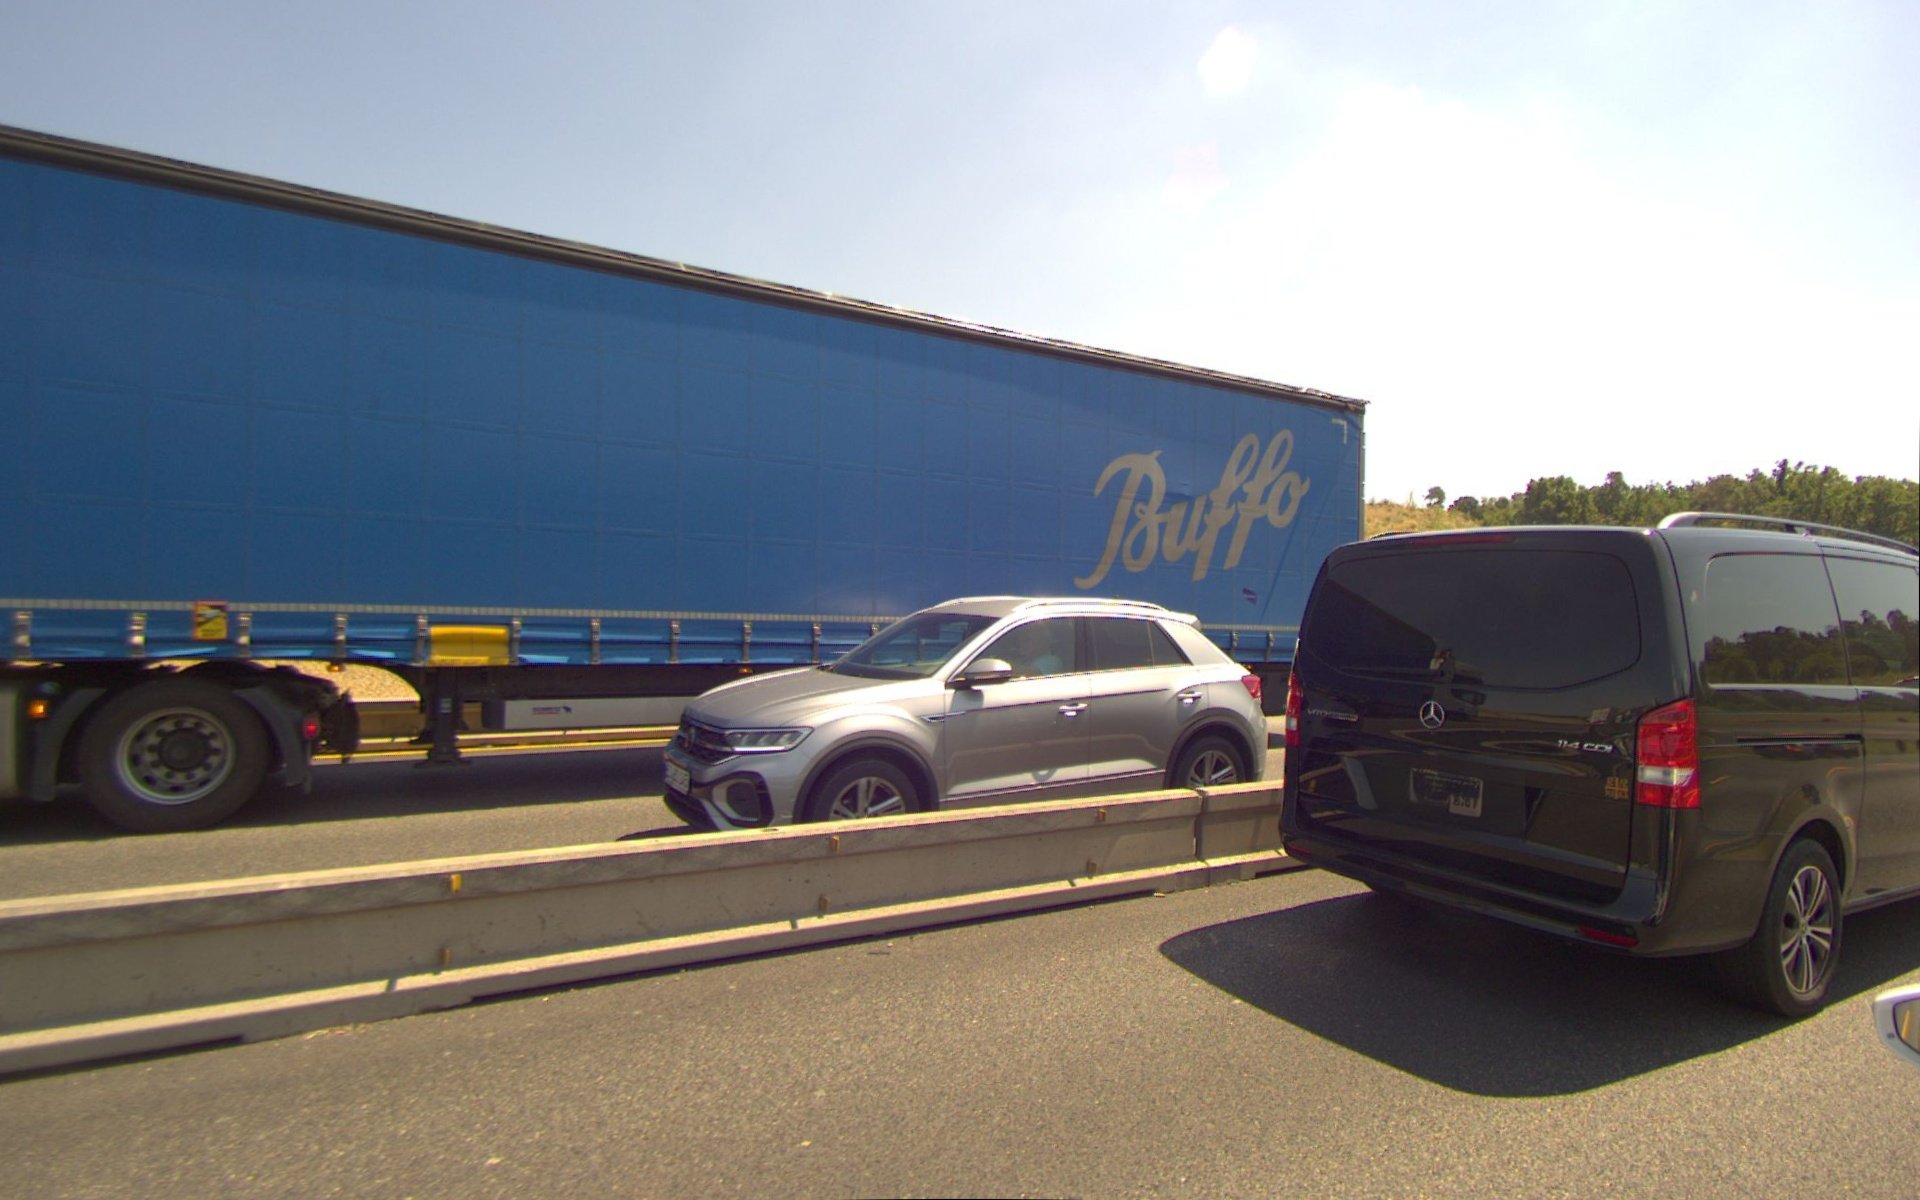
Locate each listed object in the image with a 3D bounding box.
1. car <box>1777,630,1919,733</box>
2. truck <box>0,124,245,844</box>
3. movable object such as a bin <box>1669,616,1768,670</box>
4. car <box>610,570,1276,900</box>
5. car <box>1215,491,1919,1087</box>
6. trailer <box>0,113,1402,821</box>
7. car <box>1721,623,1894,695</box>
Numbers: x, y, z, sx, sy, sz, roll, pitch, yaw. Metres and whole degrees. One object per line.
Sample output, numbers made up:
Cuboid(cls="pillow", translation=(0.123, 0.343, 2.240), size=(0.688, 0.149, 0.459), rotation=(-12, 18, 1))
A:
Cuboid(cls="car", translation=(15.330, 1.280, 16.275), size=(4.805, 1.405, 1.720), rotation=(3, 0, -31))
Cuboid(cls="truck", translation=(-7.560, -0.707, 5.982), size=(5.091, 4.107, 2.578), rotation=(1, 0, -31))
Cuboid(cls="movable object such as a bin", translation=(46.270, 2.593, 61.211), size=(7.078, 3.150, 2.159), rotation=(1, -2, -30))
Cuboid(cls="car", translation=(-0.007, 0.715, 6.648), size=(4.092, 1.575, 1.767), rotation=(1, -2, -31))
Cuboid(cls="car", translation=(4.027, 0.653, 5.344), size=(5.414, 1.876, 1.865), rotation=(2, 0, -30))
Cuboid(cls="trailer", translation=(-1.396, -0.617, 9.582), size=(13.832, 3.991, 2.640), rotation=(2, 0, -31))
Cuboid(cls="car", translation=(19.148, 1.327, 22.646), size=(4.450, 1.443, 1.622), rotation=(3, 0, -31))
